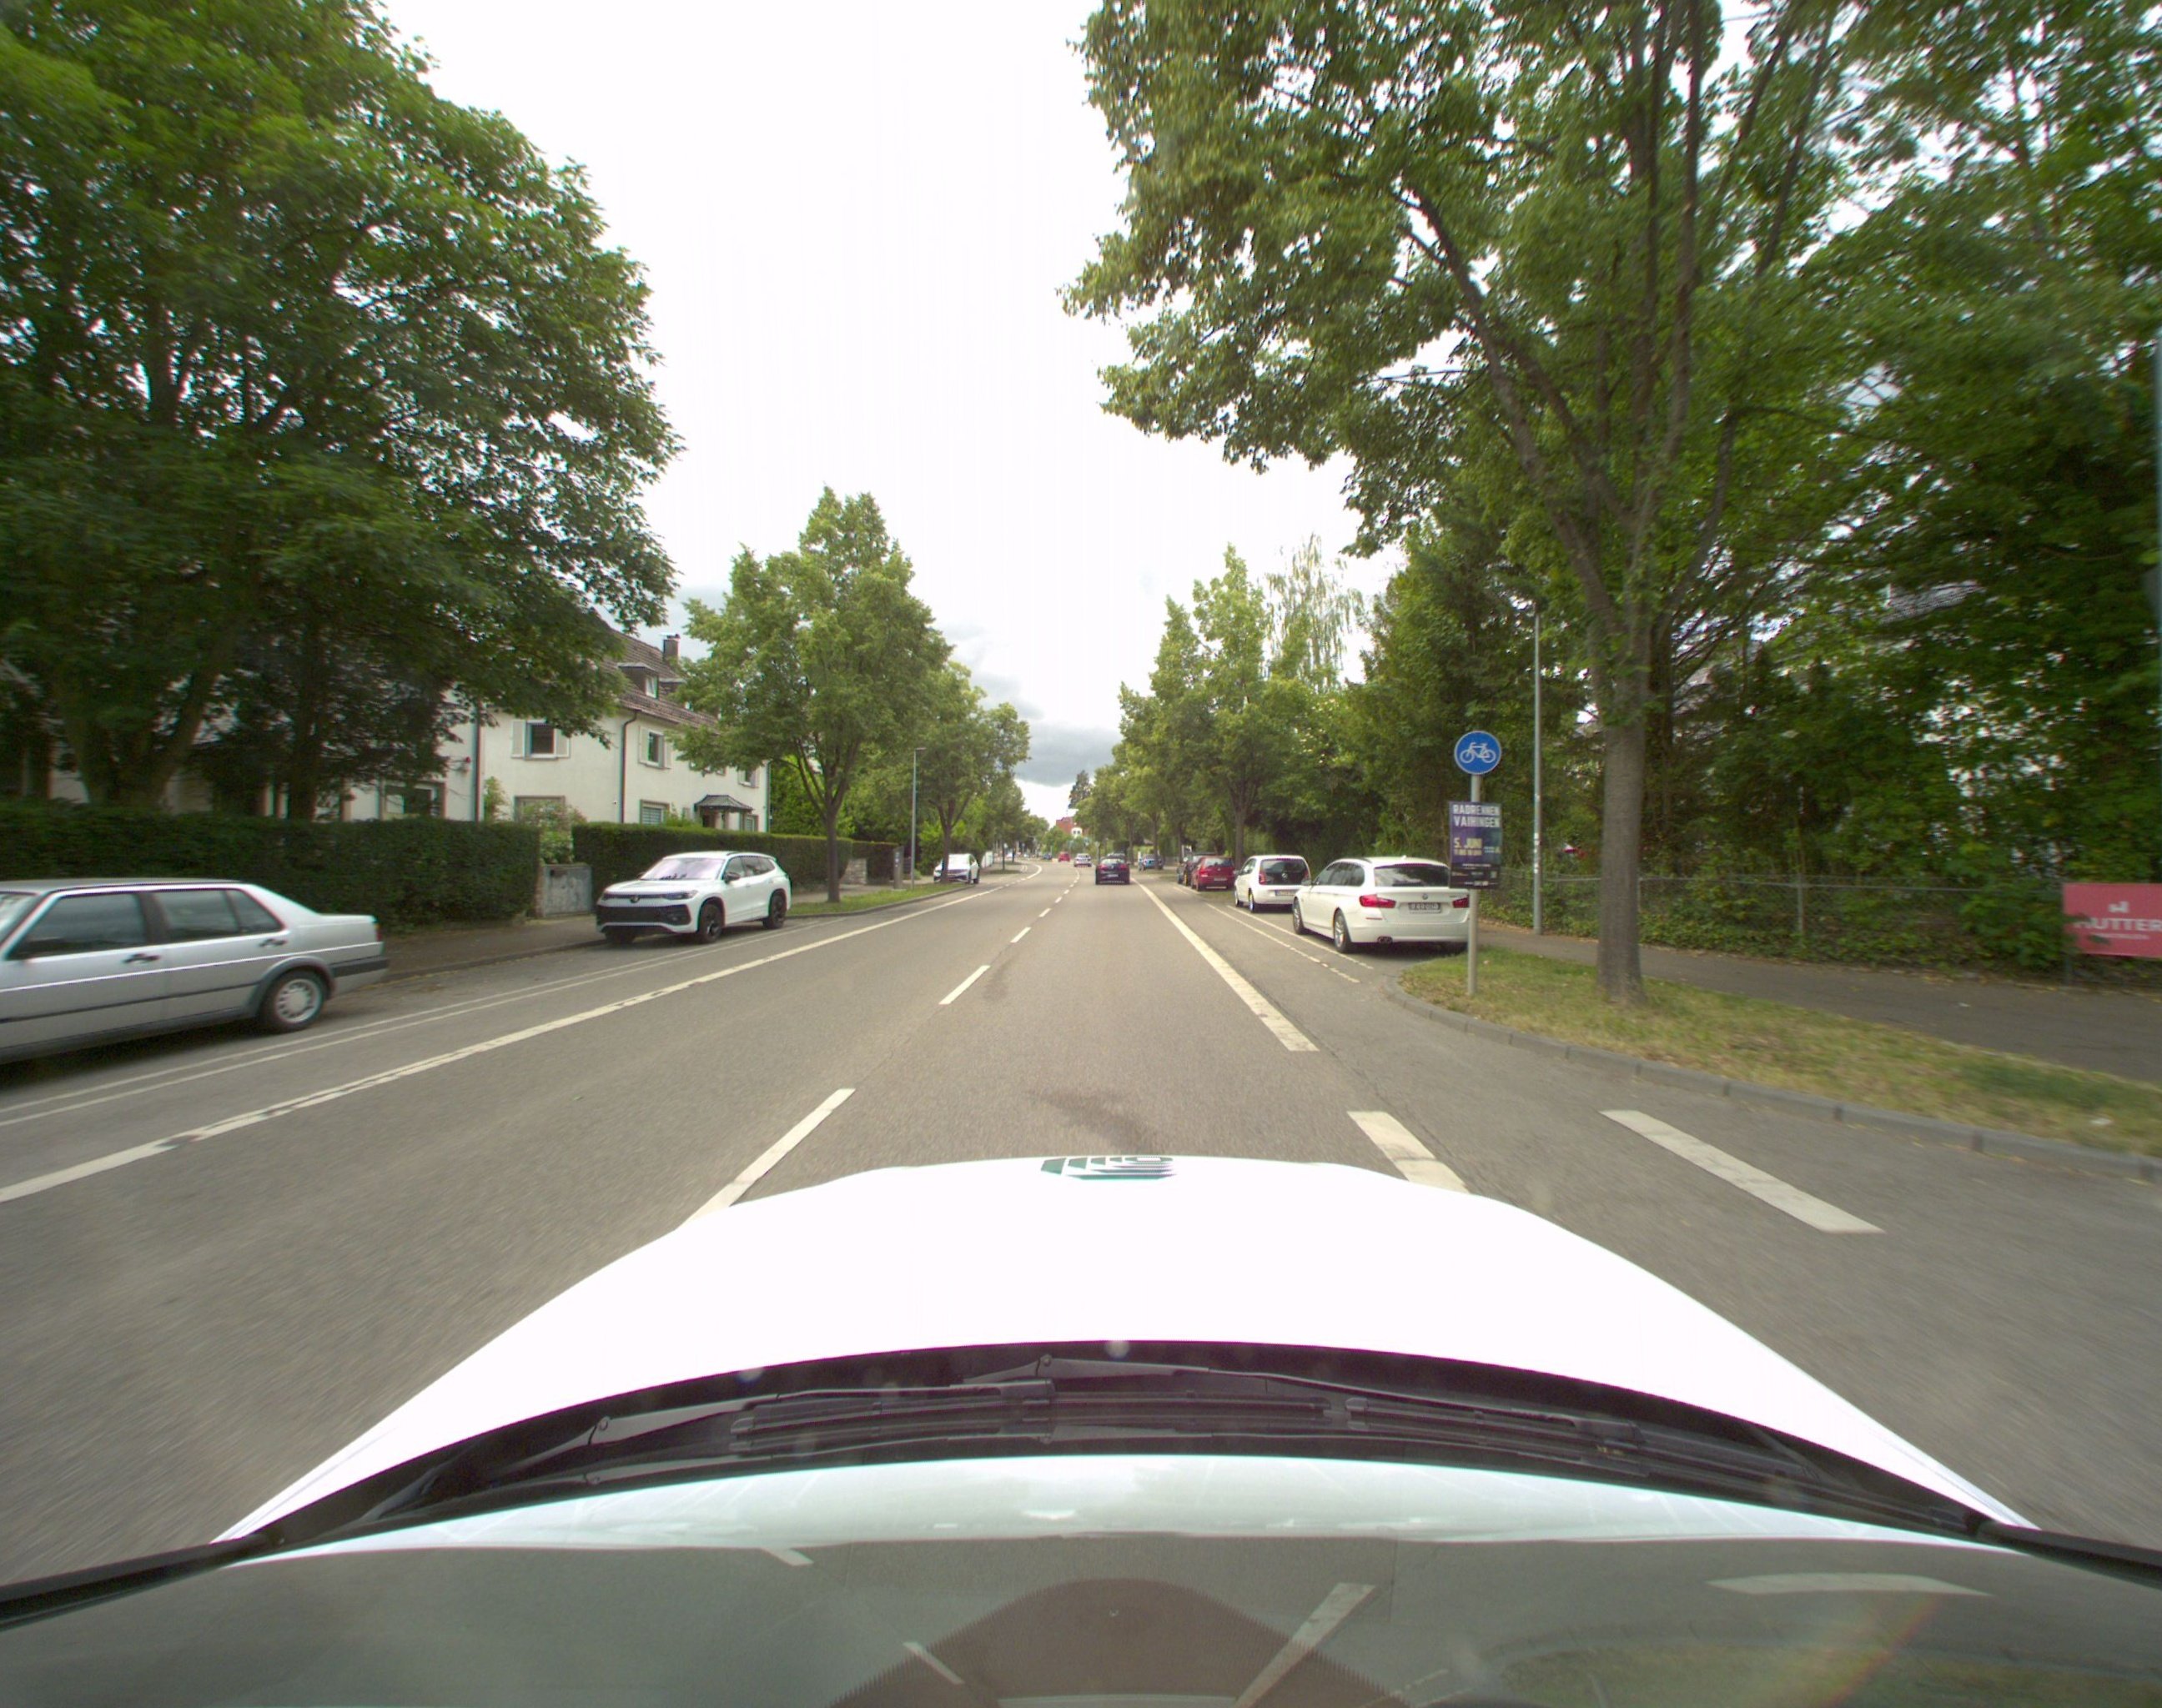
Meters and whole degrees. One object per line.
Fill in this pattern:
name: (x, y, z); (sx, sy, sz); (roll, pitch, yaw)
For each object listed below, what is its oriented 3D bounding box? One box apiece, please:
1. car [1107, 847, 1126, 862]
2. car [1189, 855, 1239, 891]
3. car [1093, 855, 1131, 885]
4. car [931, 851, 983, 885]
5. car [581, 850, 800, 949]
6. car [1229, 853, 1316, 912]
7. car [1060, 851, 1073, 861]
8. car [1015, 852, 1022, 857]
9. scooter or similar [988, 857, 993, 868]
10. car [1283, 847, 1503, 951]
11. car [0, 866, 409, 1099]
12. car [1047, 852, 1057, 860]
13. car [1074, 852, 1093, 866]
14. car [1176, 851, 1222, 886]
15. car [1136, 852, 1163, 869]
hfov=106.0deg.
car: (4.195, 0.091, 96.654); (1.784, 1.772, 3.978); (0, 0, -3)
car: (5.518, 0.754, 34.147); (1.631, 1.420, 4.004); (-1, 0, 3)
car: (1.542, 0.779, 41.663); (1.777, 1.449, 3.557); (0, 0, 0)
car: (-6.535, 0.713, 43.484); (1.867, 1.688, 4.868); (-1, 0, 2)
car: (-7.403, 0.764, 16.083); (1.809, 1.652, 4.704); (0, 0, 4)
car: (5.135, 0.719, 22.223); (1.609, 1.460, 3.659); (-1, 0, 2)
car: (-2.270, 0.264, 125.845); (1.987, 1.530, 3.999); (0, 0, -1)
car: (-18.519, 0.135, 242.074); (1.968, 1.675, 3.874); (0, 0, -1)
scooter or similar: (-9.494, 0.932, 85.522); (0.500, 1.154, 1.299); (0, 0, -3)
car: (4.963, 0.626, 13.843); (2.013, 1.443, 5.028); (0, 0, 2)
car: (-7.812, 0.863, 6.270); (1.550, 1.470, 4.452); (0, 0, 0)
car: (-5.777, 0.361, 160.954); (1.989, 1.508, 3.995); (0, -1, -3)
car: (0.245, 0.562, 90.356); (1.987, 1.558, 3.999); (-1, -1, 0)
car: (5.670, 0.653, 39.625); (1.633, 1.615, 4.168); (0, 0, 0)
car: (5.788, 0.535, 69.173); (1.679, 1.432, 4.039); (0, 0, -3)
